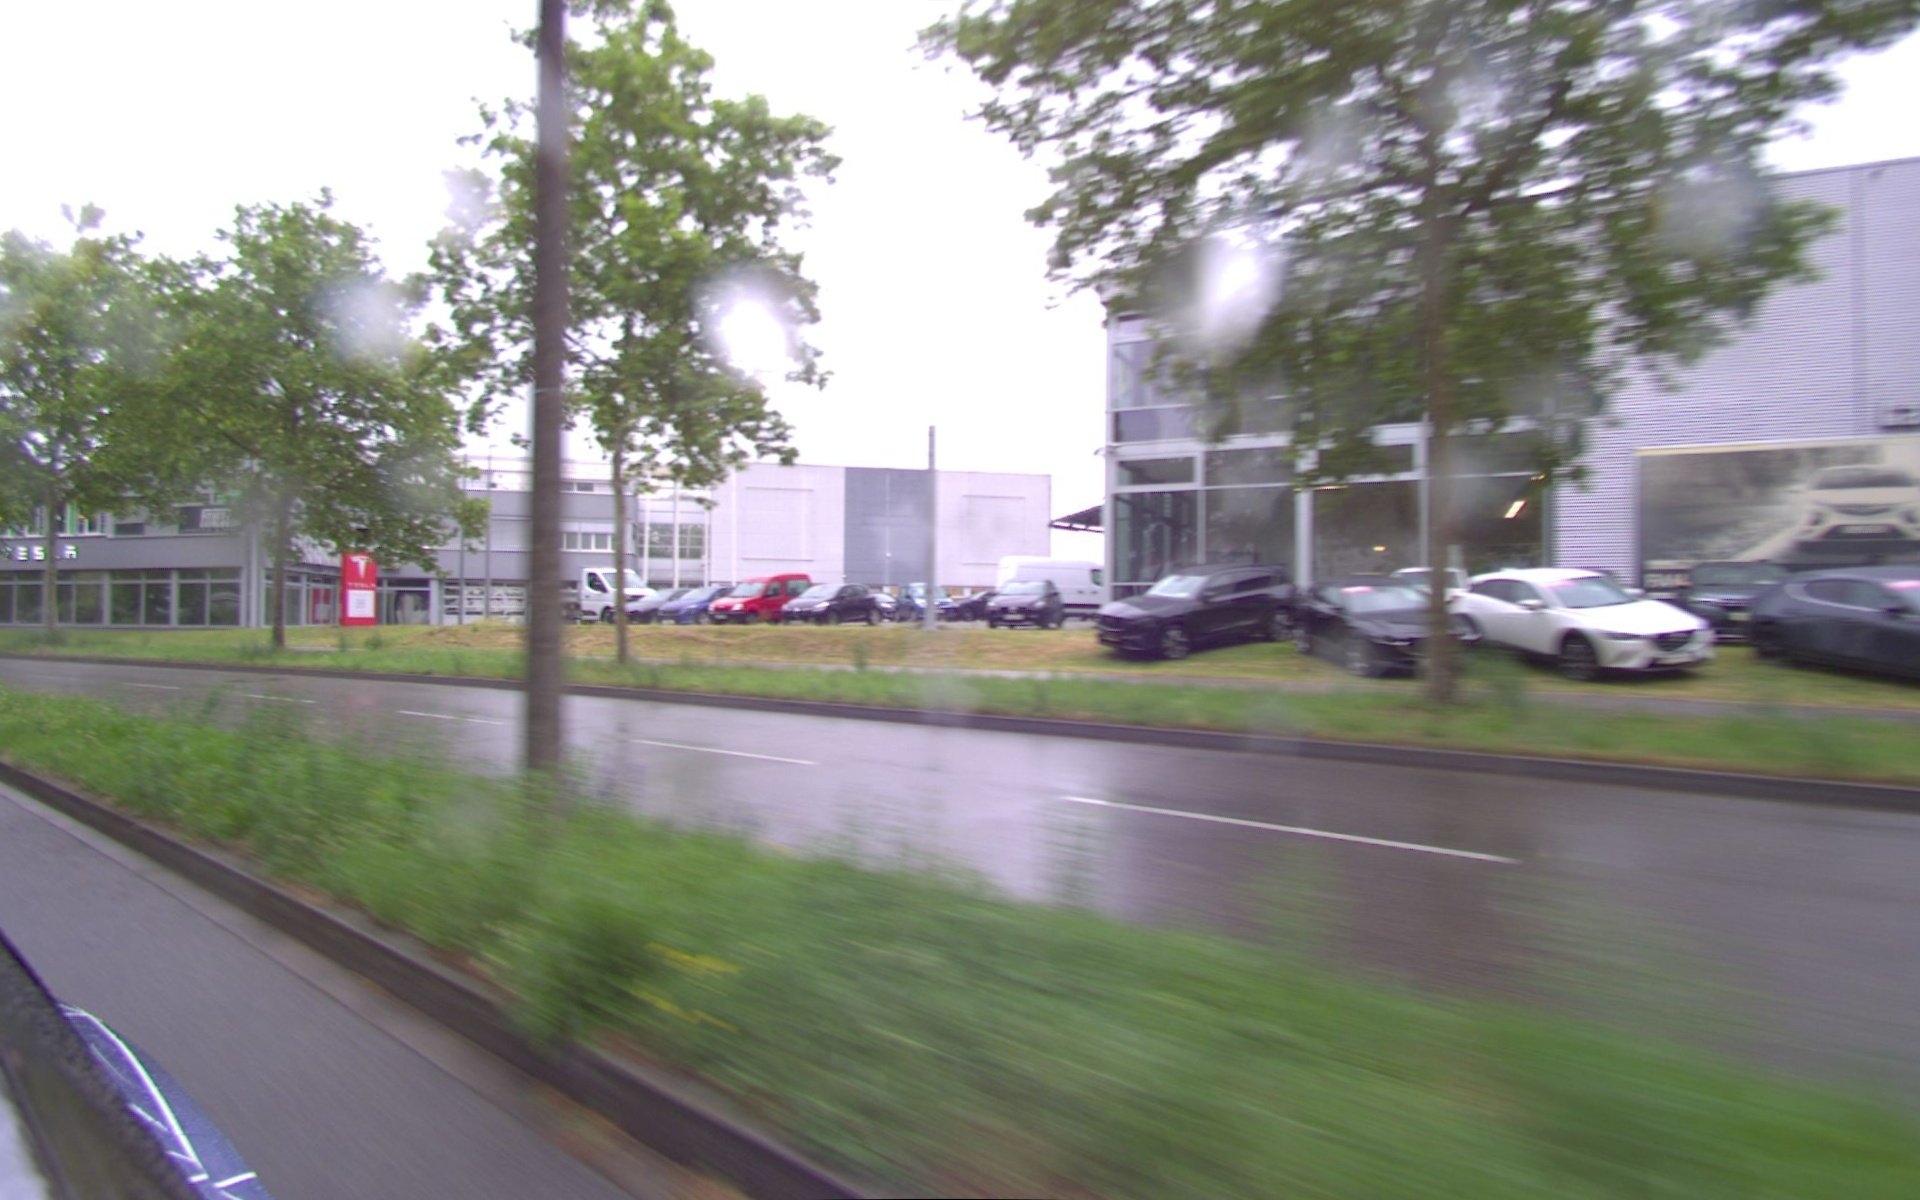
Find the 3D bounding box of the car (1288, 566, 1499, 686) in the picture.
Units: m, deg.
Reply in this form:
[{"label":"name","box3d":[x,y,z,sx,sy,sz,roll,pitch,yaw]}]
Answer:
[{"label":"car","box3d":[7.384,0.341,17.730,1.822,1.489,4.131,-5,5,0]}]

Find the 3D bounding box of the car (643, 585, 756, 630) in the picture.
[{"label":"car","box3d":[-8.935,0.224,34.943,1.762,1.336,3.497,-2,1,31]}]

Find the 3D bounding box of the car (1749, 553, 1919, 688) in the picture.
[{"label":"car","box3d":[12.804,0.269,13.038,1.820,1.432,4.135,-6,5,-4]}]

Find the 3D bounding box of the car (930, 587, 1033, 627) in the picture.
[{"label":"car","box3d":[1.006,0.329,48.629,4.574,1.777,1.826,-1,0,-17]}]

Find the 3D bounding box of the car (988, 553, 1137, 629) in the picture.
[{"label":"car","box3d":[3.969,-0.360,39.424,5.248,2.773,2.177,-1,0,-17]}]

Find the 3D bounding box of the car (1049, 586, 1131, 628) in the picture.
[{"label":"car","box3d":[5.865,0.284,46.338,1.789,1.777,4.669,-1,0,-19]}]

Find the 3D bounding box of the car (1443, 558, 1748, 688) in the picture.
[{"label":"car","box3d":[9.829,0.233,16.097,1.819,1.489,4.138,-6,5,-7]}]

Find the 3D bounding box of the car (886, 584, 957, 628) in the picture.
[{"label":"car","box3d":[-1.748,0.231,44.180,1.789,1.777,4.669,-1,0,-19]}]

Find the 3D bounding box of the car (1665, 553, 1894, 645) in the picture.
[{"label":"car","box3d":[14.788,-0.008,18.213,4.361,1.485,1.925,0,-1,-33]}]

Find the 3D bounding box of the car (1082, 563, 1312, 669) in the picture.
[{"label":"car","box3d":[4.943,0.237,21.049,4.362,1.567,1.854,-8,5,-24]}]

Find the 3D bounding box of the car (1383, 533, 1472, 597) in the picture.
[{"label":"car","box3d":[12.232,-0.840,26.709,1.907,1.485,4.403,-1,-1,22]}]

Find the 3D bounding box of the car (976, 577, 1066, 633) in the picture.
[{"label":"car","box3d":[1.804,0.096,28.612,1.829,1.367,3.992,-3,1,13]}]

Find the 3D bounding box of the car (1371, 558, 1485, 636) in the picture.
[{"label":"car","box3d":[10.071,-0.042,21.603,1.912,1.485,4.392,-1,-1,29]}]

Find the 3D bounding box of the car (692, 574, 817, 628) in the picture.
[{"label":"car","box3d":[-6.768,-0.006,33.704,1.841,1.568,3.967,-2,1,31]}]

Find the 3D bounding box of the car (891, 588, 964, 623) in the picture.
[{"label":"car","box3d":[-1.833,0.327,55.640,1.741,1.741,4.163,-2,-1,-40]}]

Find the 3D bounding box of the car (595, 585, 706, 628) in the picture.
[{"label":"car","box3d":[-11.044,0.207,36.262,1.762,1.336,3.497,-2,1,31]}]

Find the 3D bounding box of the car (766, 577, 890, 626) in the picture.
[{"label":"car","box3d":[-4.176,0.020,32.536,1.841,1.367,3.967,-2,1,31]}]

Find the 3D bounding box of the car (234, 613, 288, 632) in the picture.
[{"label":"car","box3d":[-68.638,2.197,99.407,1.819,1.827,4.143,-1,-1,45]}]

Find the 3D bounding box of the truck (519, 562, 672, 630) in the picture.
[{"label":"truck","box3d":[-14.268,-0.129,39.468,6.175,2.362,2.230,-2,1,33]}]
